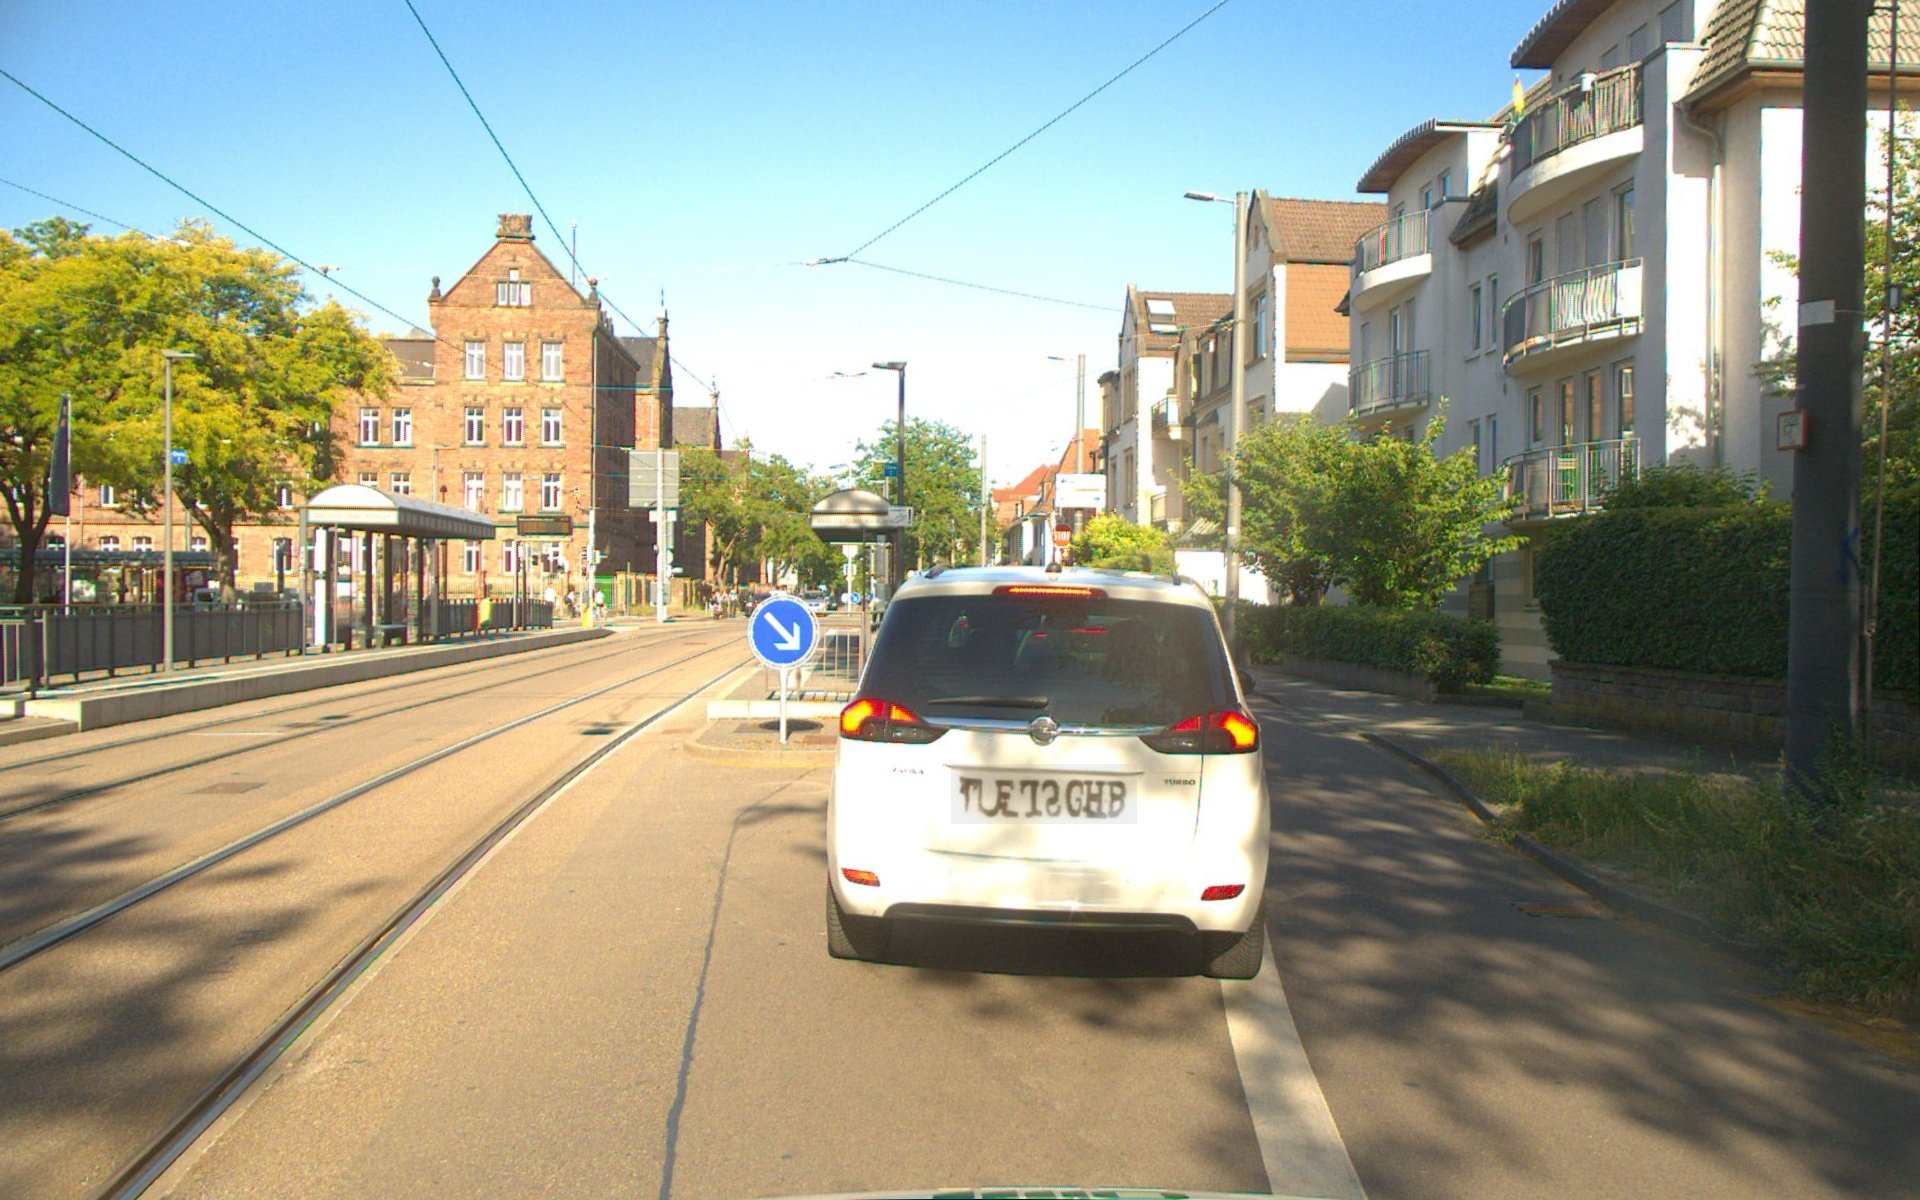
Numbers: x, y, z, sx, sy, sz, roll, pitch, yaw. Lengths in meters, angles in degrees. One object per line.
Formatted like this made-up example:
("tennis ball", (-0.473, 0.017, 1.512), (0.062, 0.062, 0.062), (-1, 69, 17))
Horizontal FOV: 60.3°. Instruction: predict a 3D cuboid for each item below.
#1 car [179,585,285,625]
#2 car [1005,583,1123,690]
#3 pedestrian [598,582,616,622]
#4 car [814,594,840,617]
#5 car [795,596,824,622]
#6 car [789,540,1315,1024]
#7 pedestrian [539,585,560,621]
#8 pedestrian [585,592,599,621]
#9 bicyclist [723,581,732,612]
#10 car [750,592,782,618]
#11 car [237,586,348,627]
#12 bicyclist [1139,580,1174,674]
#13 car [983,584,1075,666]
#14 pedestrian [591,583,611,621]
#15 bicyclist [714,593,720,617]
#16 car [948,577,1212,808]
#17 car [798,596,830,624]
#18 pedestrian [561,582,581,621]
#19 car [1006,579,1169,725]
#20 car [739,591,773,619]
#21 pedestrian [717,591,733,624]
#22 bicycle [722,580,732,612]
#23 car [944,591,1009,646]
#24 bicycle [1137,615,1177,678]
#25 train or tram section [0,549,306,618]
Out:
("car", (-32.445, 0.224, 73.821), (3.908, 1.658, 1.817), (1, 0, -4))
("car", (1.789, 0.575, 28.287), (1.867, 1.690, 4.002), (0, 0, 4))
("pedestrian", (-18.081, 0.093, 84.693), (0.782, 2.049, 0.717), (1, -1, -18))
("car", (-10.354, 0.449, 128.900), (1.711, 1.746, 3.999), (1, 0, -1))
("car", (-10.468, 0.603, 115.044), (1.711, 1.746, 3.999), (1, 0, -1))
("car", (0.534, 0.628, 7.883), (1.866, 1.690, 4.003), (0, 0, 6))
("pedestrian", (-22.020, 0.149, 88.655), (0.791, 1.934, 0.744), (1, -1, 13))
("pedestrian", (-21.134, 0.374, 94.974), (0.640, 1.640, 0.711), (1, -1, 1))
("bicyclist", (-15.313, -0.255, 108.888), (0.488, 2.049, 0.572), (0, 0, -1))
("car", (-13.304, 0.363, 113.499), (1.711, 1.746, 3.999), (1, 0, -1))
("car", (-28.114, 0.270, 69.747), (3.908, 1.658, 1.817), (1, 0, -4))
("bicyclist", (3.676, 0.496, 30.946), (0.603, 1.716, 0.779), (0, 0, 3))
("car", (1.447, 0.502, 36.120), (1.868, 1.690, 4.000), (0, 0, 0))
("pedestrian", (-19.254, 0.117, 88.669), (0.789, 2.049, 0.711), (1, -1, -38))
("bicyclist", (-15.103, 0.295, 102.803), (0.307, 1.469, 0.384), (0, 0, -1))
("car", (1.069, 0.644, 13.775), (1.866, 1.625, 4.003), (0, 0, 6))
("car", (-9.451, 0.625, 107.203), (1.711, 1.746, 3.999), (1, 0, -1))
("pedestrian", (-20.708, 0.089, 88.024), (0.788, 2.049, 0.712), (1, -1, -34))
("car", (1.680, 0.585, 21.008), (1.866, 1.653, 4.003), (0, 0, 6))
("car", (-13.158, 0.303, 106.835), (1.711, 1.746, 3.999), (1, 0, -1))
("pedestrian", (-13.697, 0.432, 96.297), (0.731, 1.934, 0.804), (1, -1, -24))
("bicycle", (-15.321, -0.255, 108.860), (0.477, 2.049, 1.405), (0, 0, -1))
("car", (0.504, 0.555, 53.083), (1.869, 1.690, 3.998), (0, 0, -2))
("bicycle", (3.677, 0.853, 30.968), (0.611, 1.116, 1.974), (0, 0, 3))
("train or tram section", (-40.747, -0.757, 79.423), (17.048, 3.210, 3.343), (0, 0, -6))
